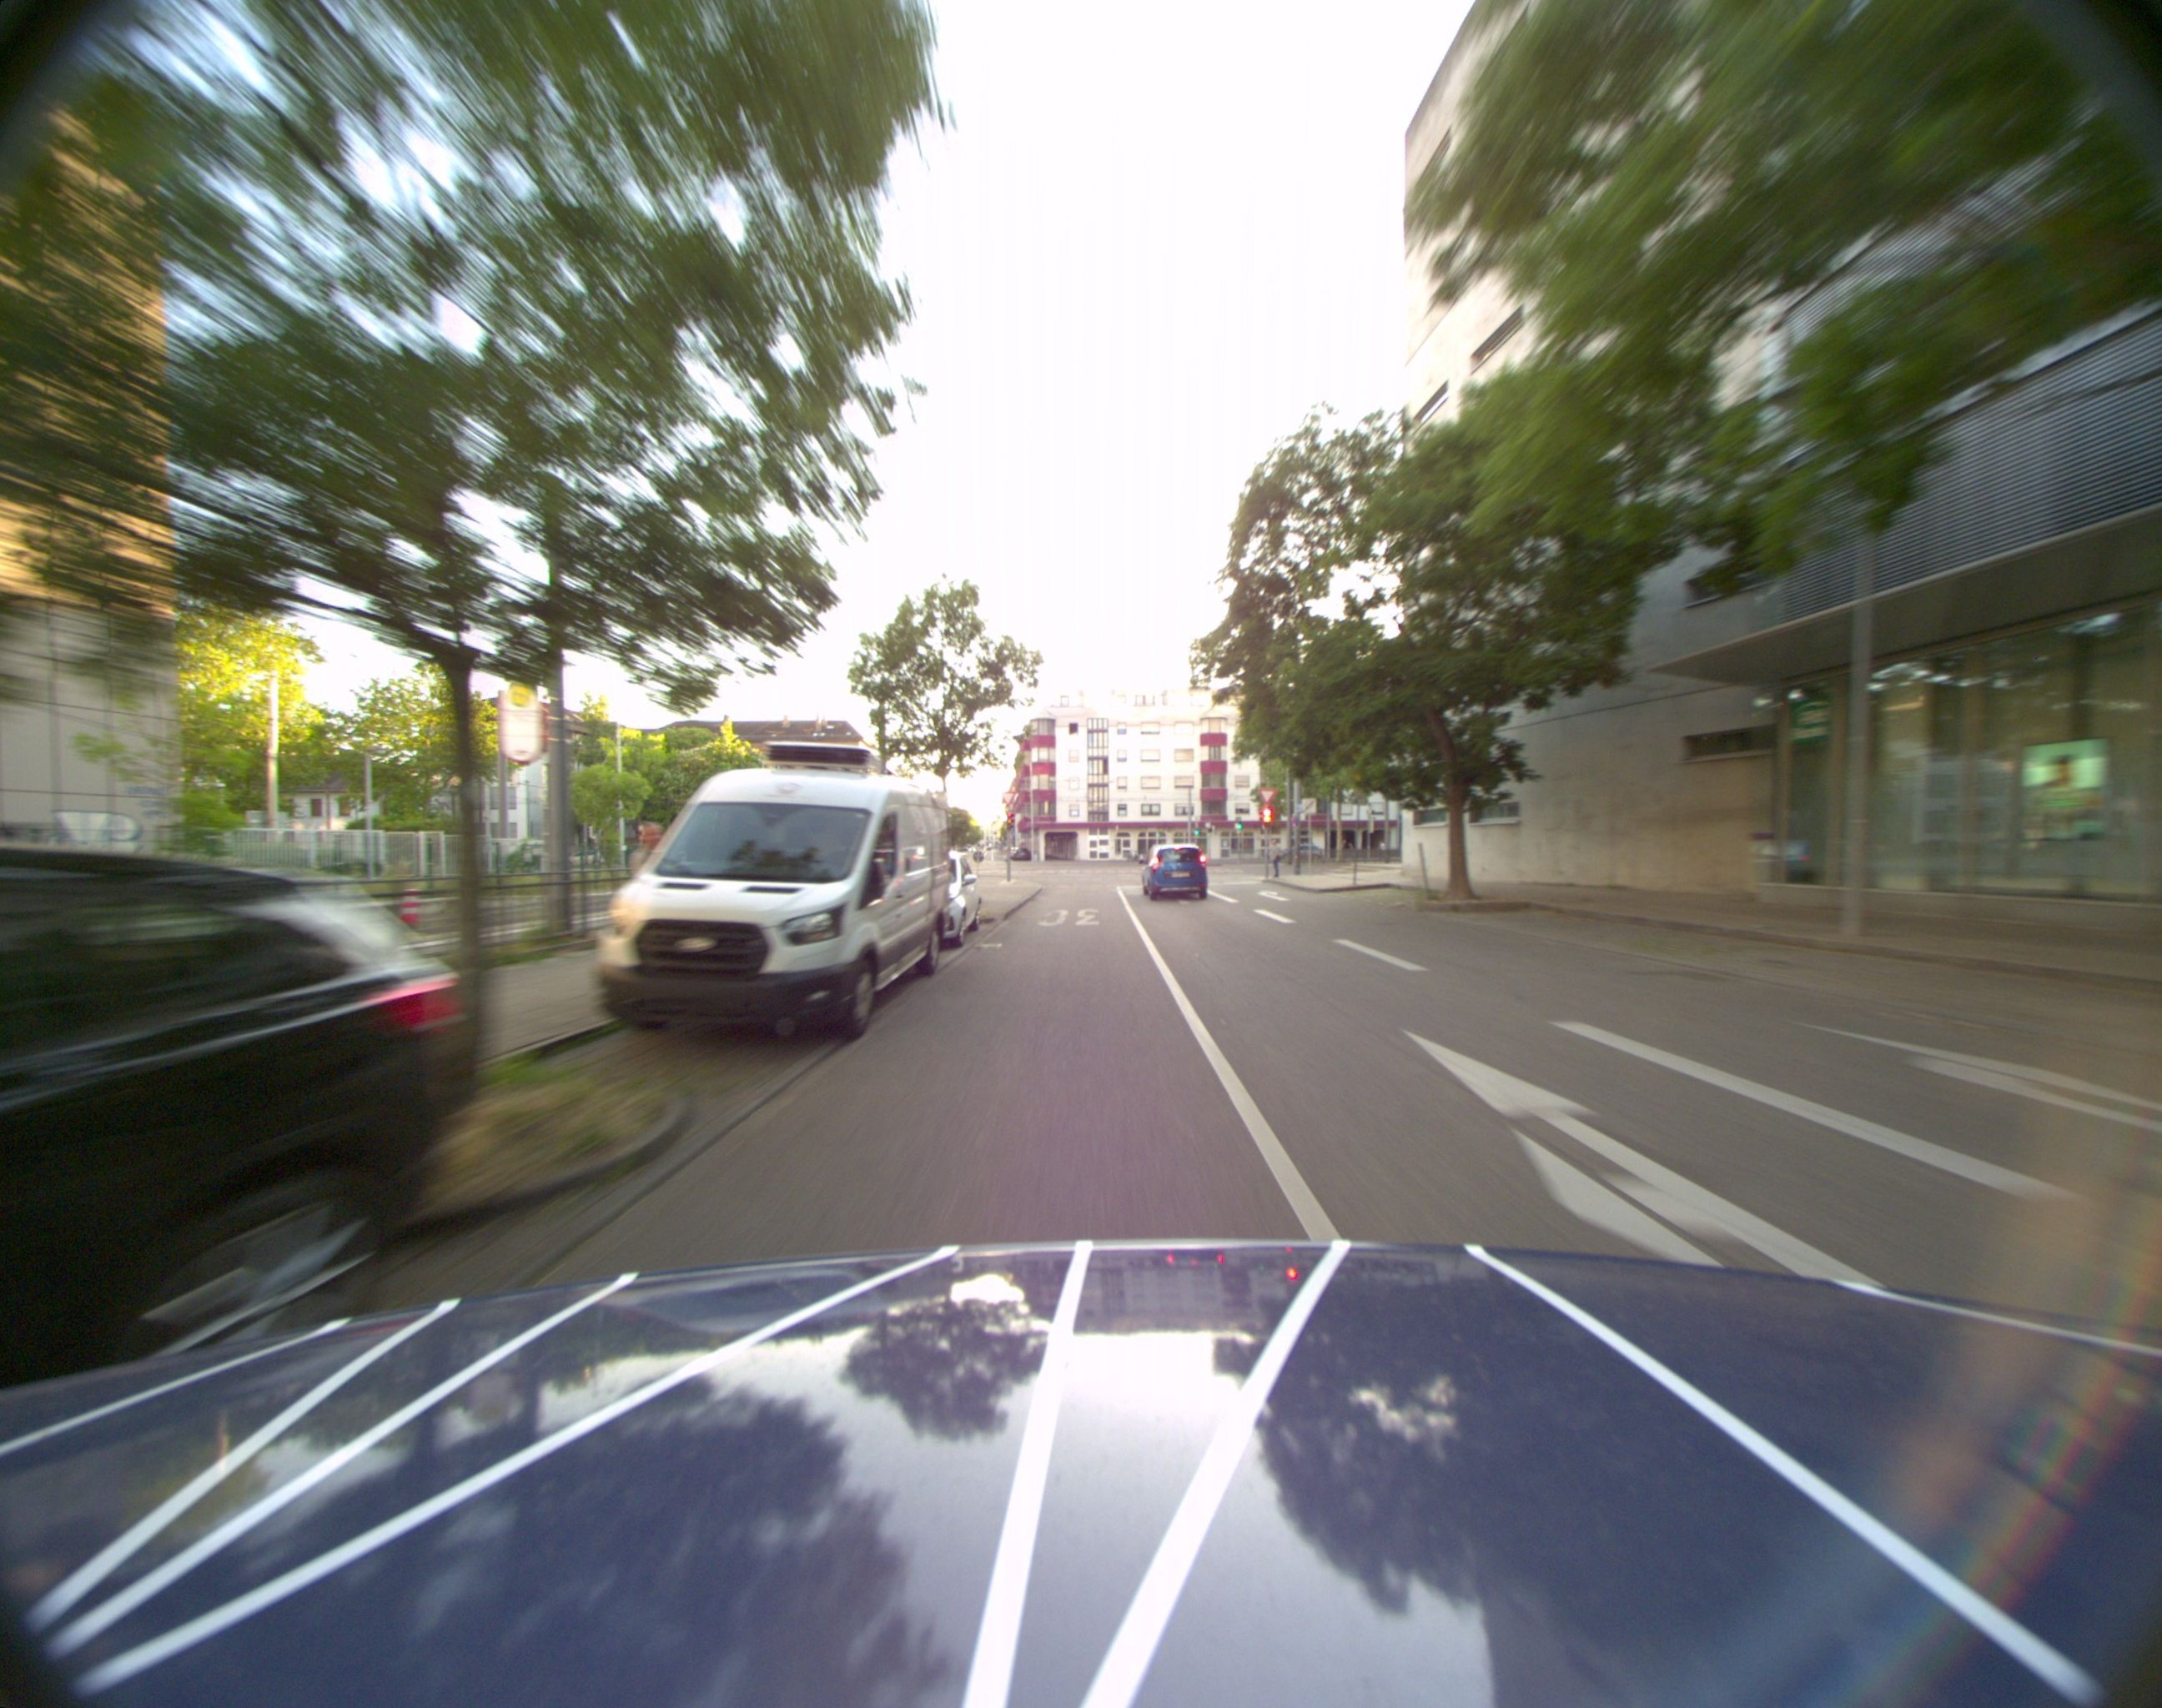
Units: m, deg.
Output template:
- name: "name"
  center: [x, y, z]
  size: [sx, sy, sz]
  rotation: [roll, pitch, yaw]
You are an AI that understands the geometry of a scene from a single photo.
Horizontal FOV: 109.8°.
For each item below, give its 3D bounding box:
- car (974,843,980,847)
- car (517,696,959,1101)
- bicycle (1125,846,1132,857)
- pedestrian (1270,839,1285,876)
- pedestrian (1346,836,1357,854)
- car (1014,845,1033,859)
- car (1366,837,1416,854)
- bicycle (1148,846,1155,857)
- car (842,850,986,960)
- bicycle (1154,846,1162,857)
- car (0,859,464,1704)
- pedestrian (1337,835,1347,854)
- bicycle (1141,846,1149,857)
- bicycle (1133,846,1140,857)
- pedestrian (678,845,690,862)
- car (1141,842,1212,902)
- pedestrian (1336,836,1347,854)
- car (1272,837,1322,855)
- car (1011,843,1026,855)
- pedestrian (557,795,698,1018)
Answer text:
- name: "car"
  center: [-33.722, -2.907, 245.636]
  size: [1.787, 1.449, 4.293]
  rotation: [-1, 1, -7]
- name: "car"
  center: [-2.744, 0.270, 7.818]
  size: [2.056, 2.642, 5.433]
  rotation: [2, 1, -1]
- name: "bicycle"
  center: [4.631, -0.246, 73.955]
  size: [0.515, 1.040, 1.902]
  rotation: [0, 1, -2]
- name: "pedestrian"
  center: [9.078, 0.144, 35.112]
  size: [0.545, 1.691, 0.709]
  rotation: [0, 2, 28]
- name: "pedestrian"
  center: [26.860, -0.922, 75.423]
  size: [0.835, 1.796, 0.692]
  rotation: [-1, 1, 2]
- name: "car"
  center: [-6.313, -0.280, 84.005]
  size: [2.007, 1.449, 4.295]
  rotation: [-1, 1, -4]
- name: "car"
  center: [29.374, -0.800, 72.093]
  size: [4.099, 1.587, 1.666]
  rotation: [0, 1, 1]
- name: "bicycle"
  center: [6.872, -0.287, 74.037]
  size: [0.515, 1.040, 1.902]
  rotation: [0, 1, -2]
- name: "car"
  center: [-2.821, 0.780, 13.688]
  size: [1.752, 1.574, 4.011]
  rotation: [2, 1, -2]
- name: "bicycle"
  center: [7.489, -0.244, 73.794]
  size: [0.515, 1.040, 1.902]
  rotation: [0, 1, -2]
- name: "car"
  center: [-3.008, 0.886, 0.500]
  size: [1.712, 1.634, 4.266]
  rotation: [1, 1, 0]
- name: "pedestrian"
  center: [25.631, -0.916, 74.608]
  size: [0.835, 1.796, 0.692]
  rotation: [-1, 1, 2]
- name: "bicycle"
  center: [6.233, -0.269, 74.071]
  size: [0.515, 1.040, 1.902]
  rotation: [0, 1, -2]
- name: "bicycle"
  center: [5.382, -0.256, 73.994]
  size: [0.515, 1.040, 1.902]
  rotation: [0, 1, -2]
- name: "pedestrian"
  center: [-36.989, -0.041, 70.807]
  size: [0.580, 1.518, 0.817]
  rotation: [0, 1, 5]
- name: "car"
  center: [2.913, 0.493, 23.932]
  size: [1.752, 1.669, 4.273]
  rotation: [-1, 1, 1]
- name: "pedestrian"
  center: [25.877, -0.921, 75.544]
  size: [0.835, 1.796, 0.692]
  rotation: [-1, 1, 2]
- name: "car"
  center: [19.532, -0.763, 68.931]
  size: [4.099, 1.587, 1.666]
  rotation: [0, 1, 1]
- name: "car"
  center: [-7.884, -0.667, 96.012]
  size: [1.786, 1.449, 4.294]
  rotation: [-1, 1, -5]
- name: "pedestrian"
  center: [-4.439, 0.461, 7.443]
  size: [0.981, 2.002, 0.805]
  rotation: [-2, 2, -44]
